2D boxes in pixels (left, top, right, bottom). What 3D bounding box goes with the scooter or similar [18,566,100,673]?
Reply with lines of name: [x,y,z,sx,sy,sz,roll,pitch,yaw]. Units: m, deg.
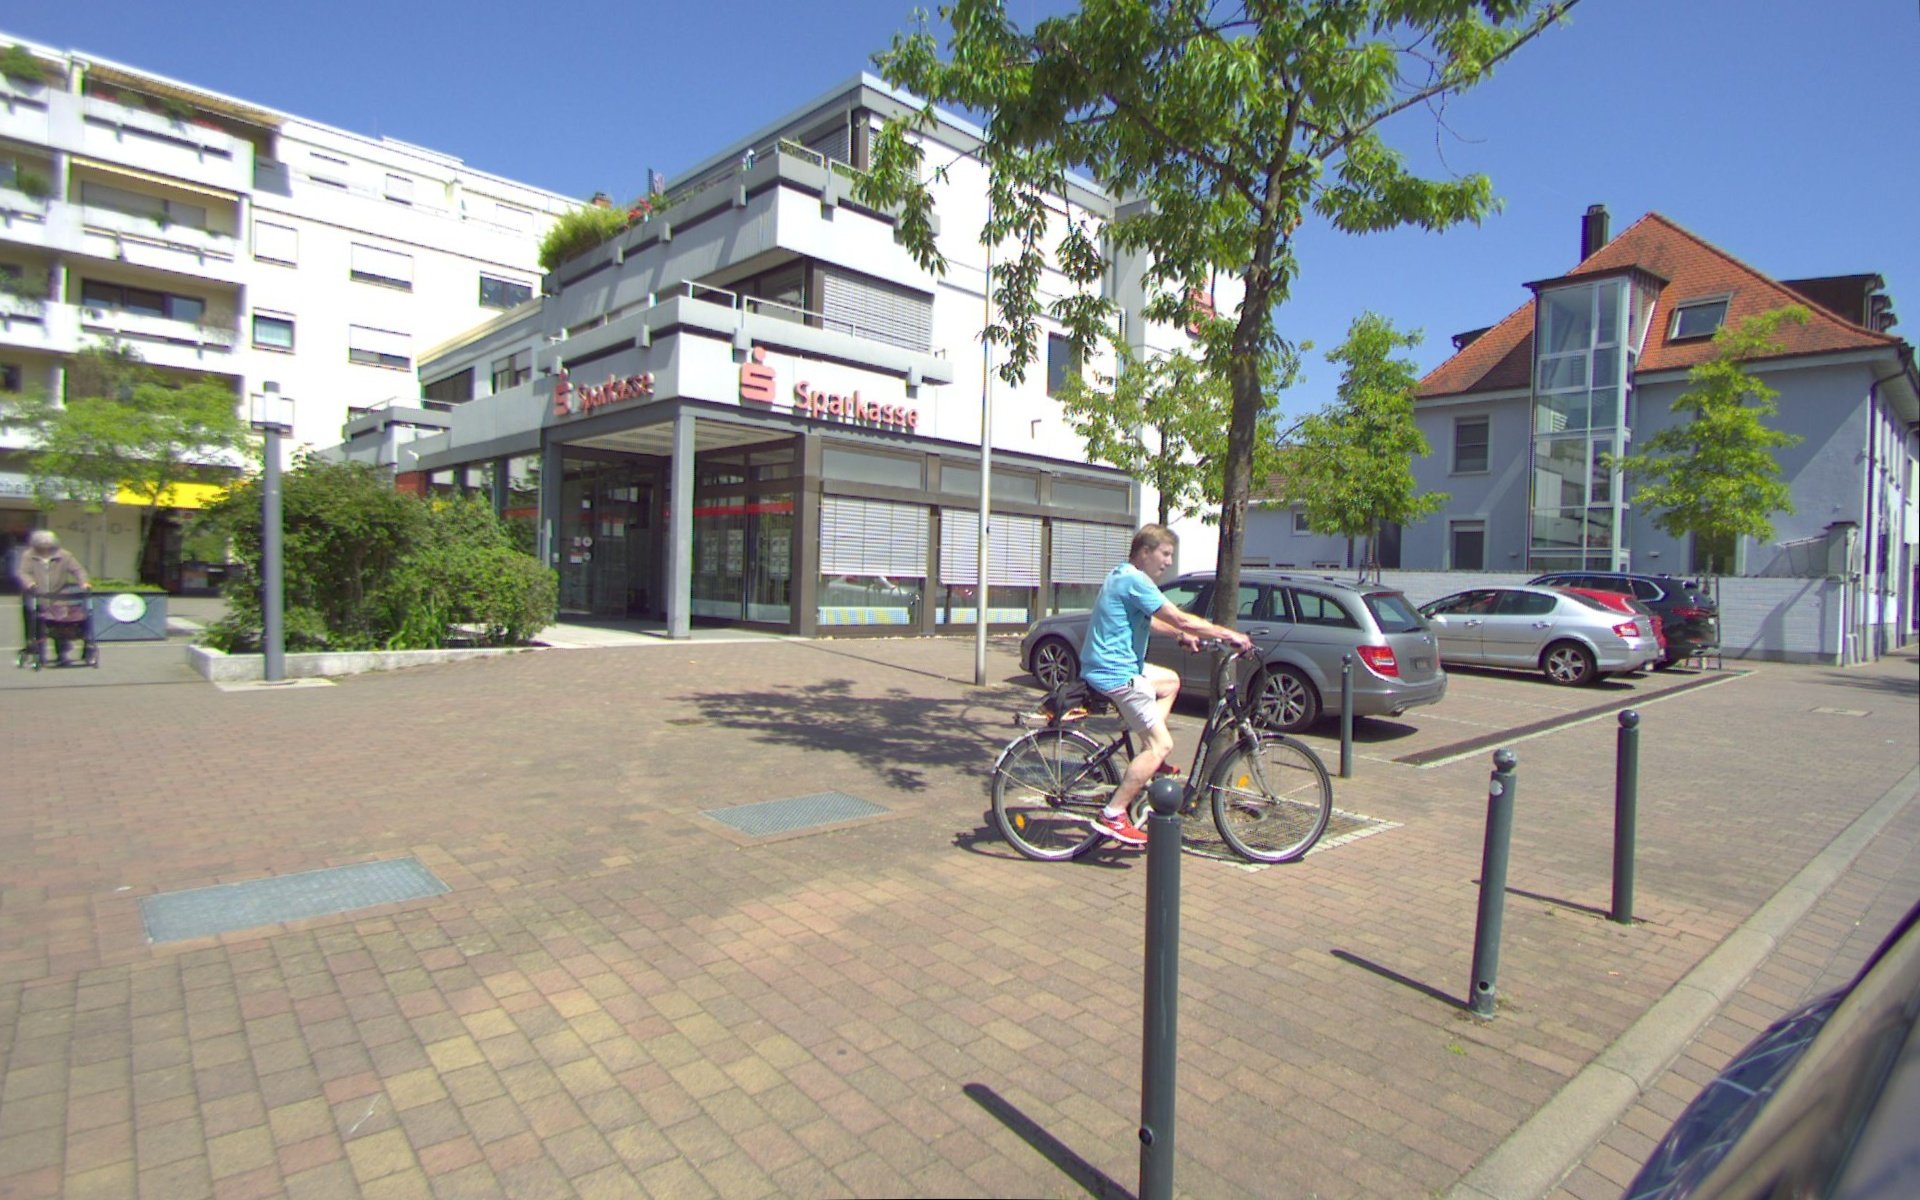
scooter or similar: [-9.675,0.196,10.866,0.802,1.088,0.582,2,1,43]

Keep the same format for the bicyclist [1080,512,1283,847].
bicyclist: [1.072,0.365,5.049,0.746,1.545,0.672,2,1,-6]

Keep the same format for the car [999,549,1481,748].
car: [2.768,0.327,10.809,4.578,1.531,1.886,5,4,44]

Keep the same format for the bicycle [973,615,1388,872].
bicycle: [1.045,0.686,5.050,1.858,1.123,0.677,2,2,-5]

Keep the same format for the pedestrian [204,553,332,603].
pedestrian: [-18.929,-0.587,27.750,0.983,1.289,2.735,3,2,41]

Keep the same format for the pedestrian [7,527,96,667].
pedestrian: [-10.260,-0.040,11.425,0.808,1.516,0.659,2,0,43]

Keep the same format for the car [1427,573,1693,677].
car: [10.591,0.364,18.029,3.731,1.470,1.717,5,3,44]

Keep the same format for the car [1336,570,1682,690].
car: [8.705,0.380,16.341,4.538,1.458,1.810,5,3,44]

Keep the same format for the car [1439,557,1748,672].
car: [12.182,0.197,19.698,2.111,1.792,4.638,2,3,-43]
